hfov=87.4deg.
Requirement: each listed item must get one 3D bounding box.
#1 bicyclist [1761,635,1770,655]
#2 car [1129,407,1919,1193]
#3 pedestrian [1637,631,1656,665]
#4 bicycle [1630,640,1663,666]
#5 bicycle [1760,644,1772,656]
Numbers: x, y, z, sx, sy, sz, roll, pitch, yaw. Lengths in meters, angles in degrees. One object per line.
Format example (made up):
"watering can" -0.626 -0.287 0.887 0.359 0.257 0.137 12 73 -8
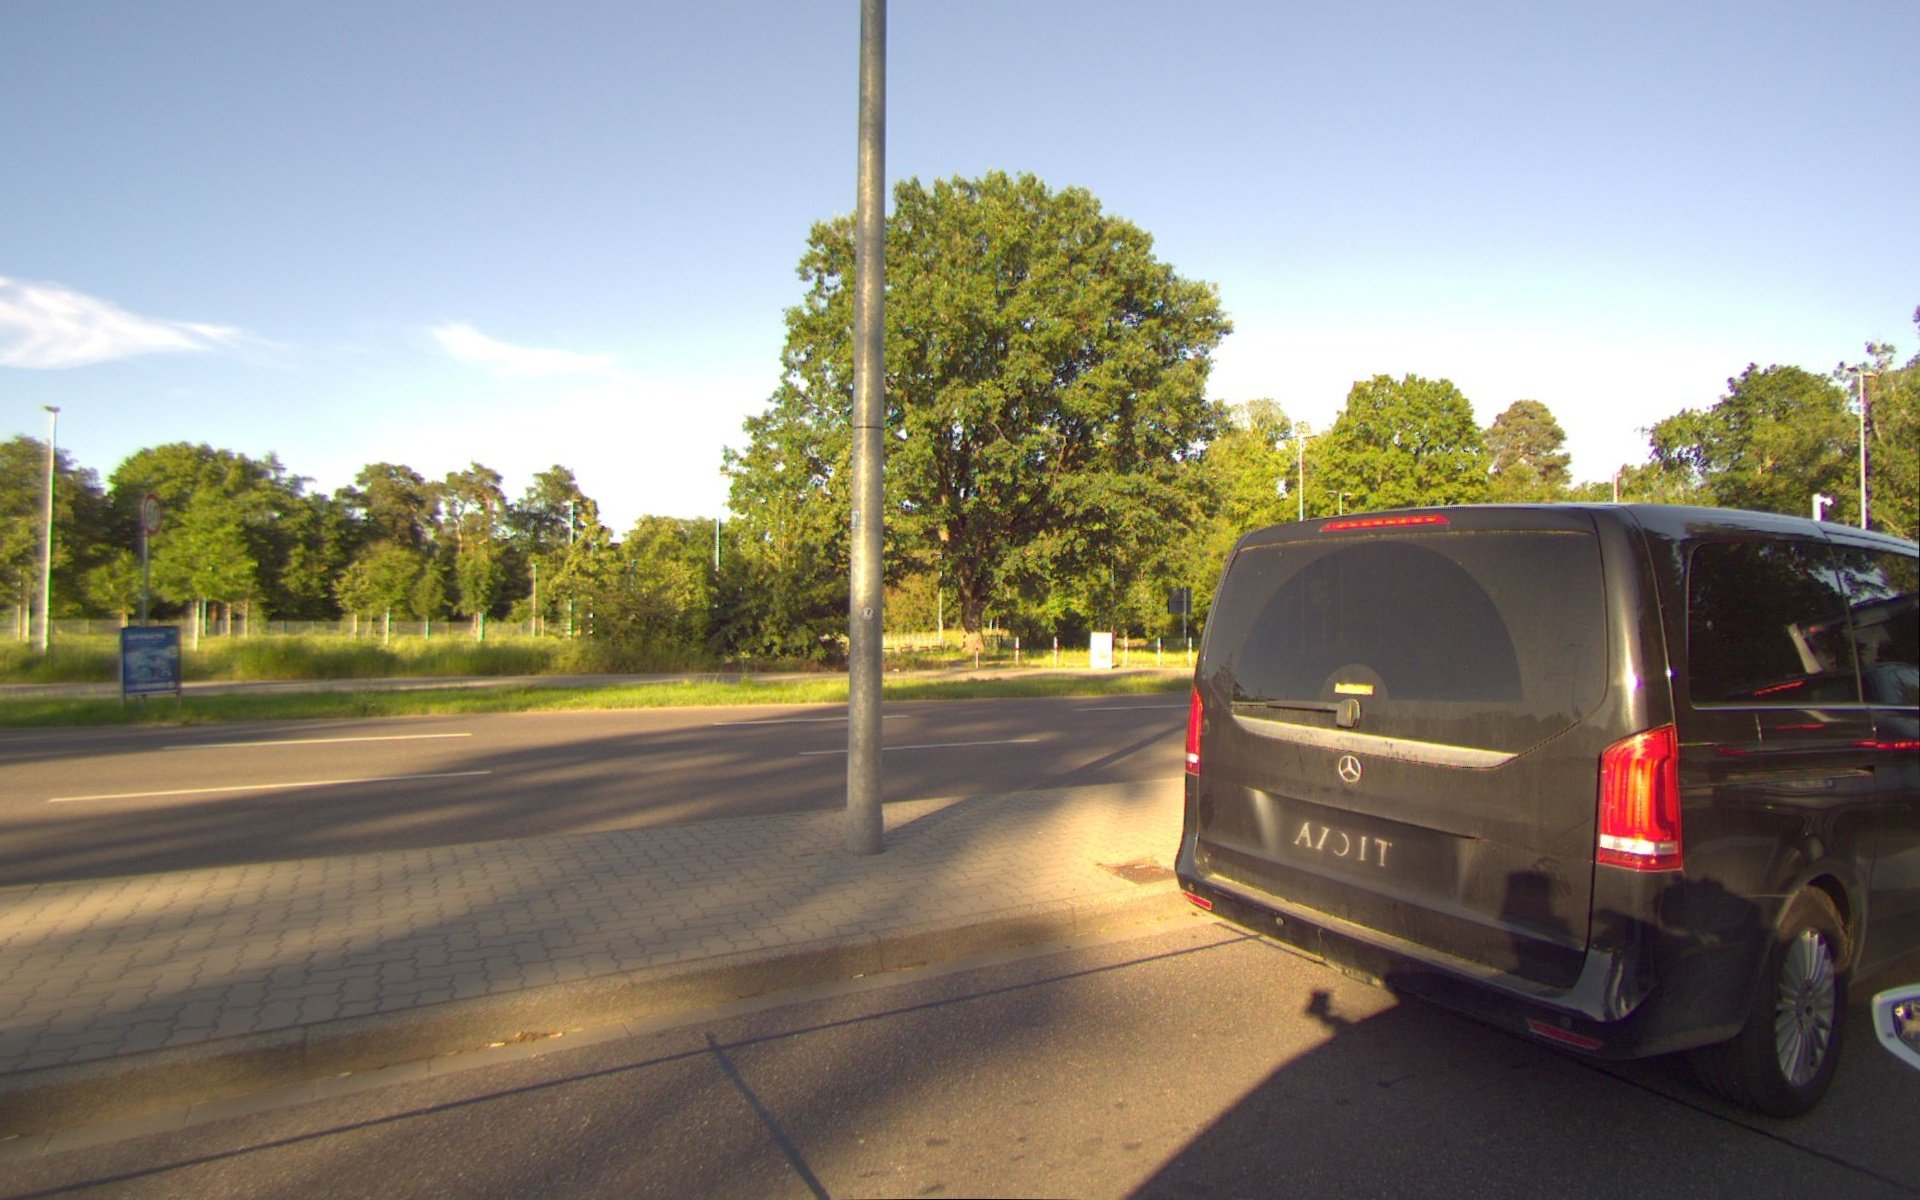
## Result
"bicyclist" 40.215 2.228 50.126 0.238 0.975 0.271 2 0 -35
"car" 3.228 0.516 4.485 4.818 1.881 1.897 1 0 -32
"pedestrian" 32.046 2.230 46.904 0.641 1.583 0.479 2 0 -30
"bicycle" 32.048 2.466 46.882 1.980 1.193 0.466 2 0 -31
"bicycle" 40.206 2.476 50.120 0.831 0.589 0.264 2 0 -36
